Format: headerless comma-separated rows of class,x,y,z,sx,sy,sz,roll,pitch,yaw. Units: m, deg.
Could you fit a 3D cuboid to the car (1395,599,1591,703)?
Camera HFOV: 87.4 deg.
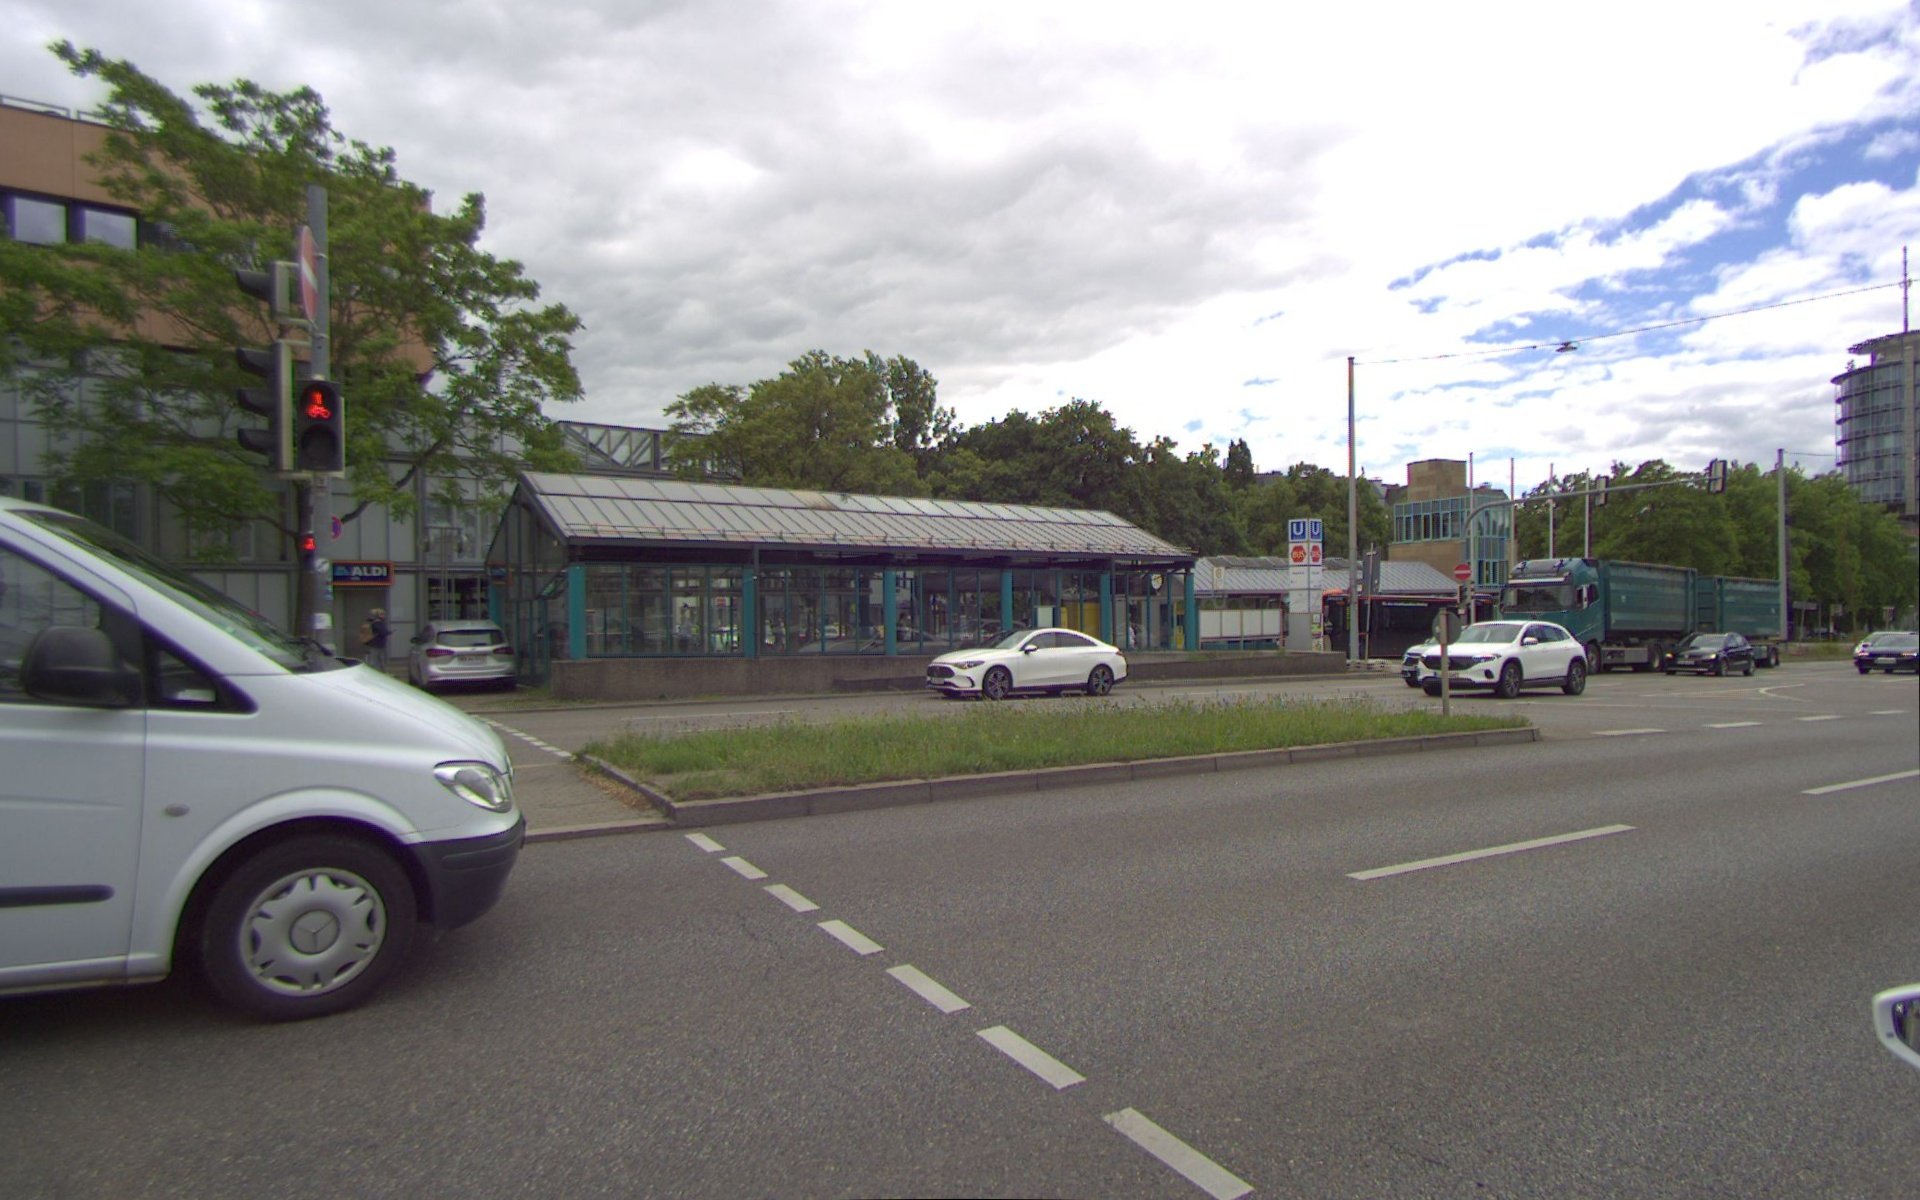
car,11.554,1.070,21.728,4.133,2.040,1.983,2,-2,-32

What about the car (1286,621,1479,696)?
car,10.034,1.348,23.684,5.217,1.606,1.754,2,-3,-36

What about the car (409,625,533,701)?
car,-10.405,1.247,21.224,1.978,1.372,3.966,0,-1,-32

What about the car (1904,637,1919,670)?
car,48.683,2.651,49.719,3.957,1.595,1.982,2,-2,-33

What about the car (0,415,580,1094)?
car,-4.086,0.455,3.390,5.016,2.040,1.864,1,0,-31

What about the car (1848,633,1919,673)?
car,34.163,1.895,36.665,4.408,1.350,1.977,2,-2,-40

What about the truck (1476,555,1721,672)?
truck,23.637,0.599,36.862,11.161,3.777,3.348,2,-1,-34

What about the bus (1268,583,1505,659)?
bus,19.896,1.051,46.469,12.000,3.175,2.947,2,-1,-26

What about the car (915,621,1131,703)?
car,1.389,1.281,21.423,4.458,1.595,1.723,2,-2,-33

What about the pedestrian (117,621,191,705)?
pedestrian,-14.865,1.146,18.541,0.592,1.477,0.869,2,0,26

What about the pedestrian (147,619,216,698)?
pedestrian,-15.255,1.131,19.702,0.592,1.477,0.869,2,0,26

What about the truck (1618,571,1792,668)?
truck,31.709,0.904,42.658,7.939,3.776,3.349,2,-2,-33

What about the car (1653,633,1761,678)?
car,25.689,1.876,34.510,3.958,1.436,1.786,2,-2,-34
